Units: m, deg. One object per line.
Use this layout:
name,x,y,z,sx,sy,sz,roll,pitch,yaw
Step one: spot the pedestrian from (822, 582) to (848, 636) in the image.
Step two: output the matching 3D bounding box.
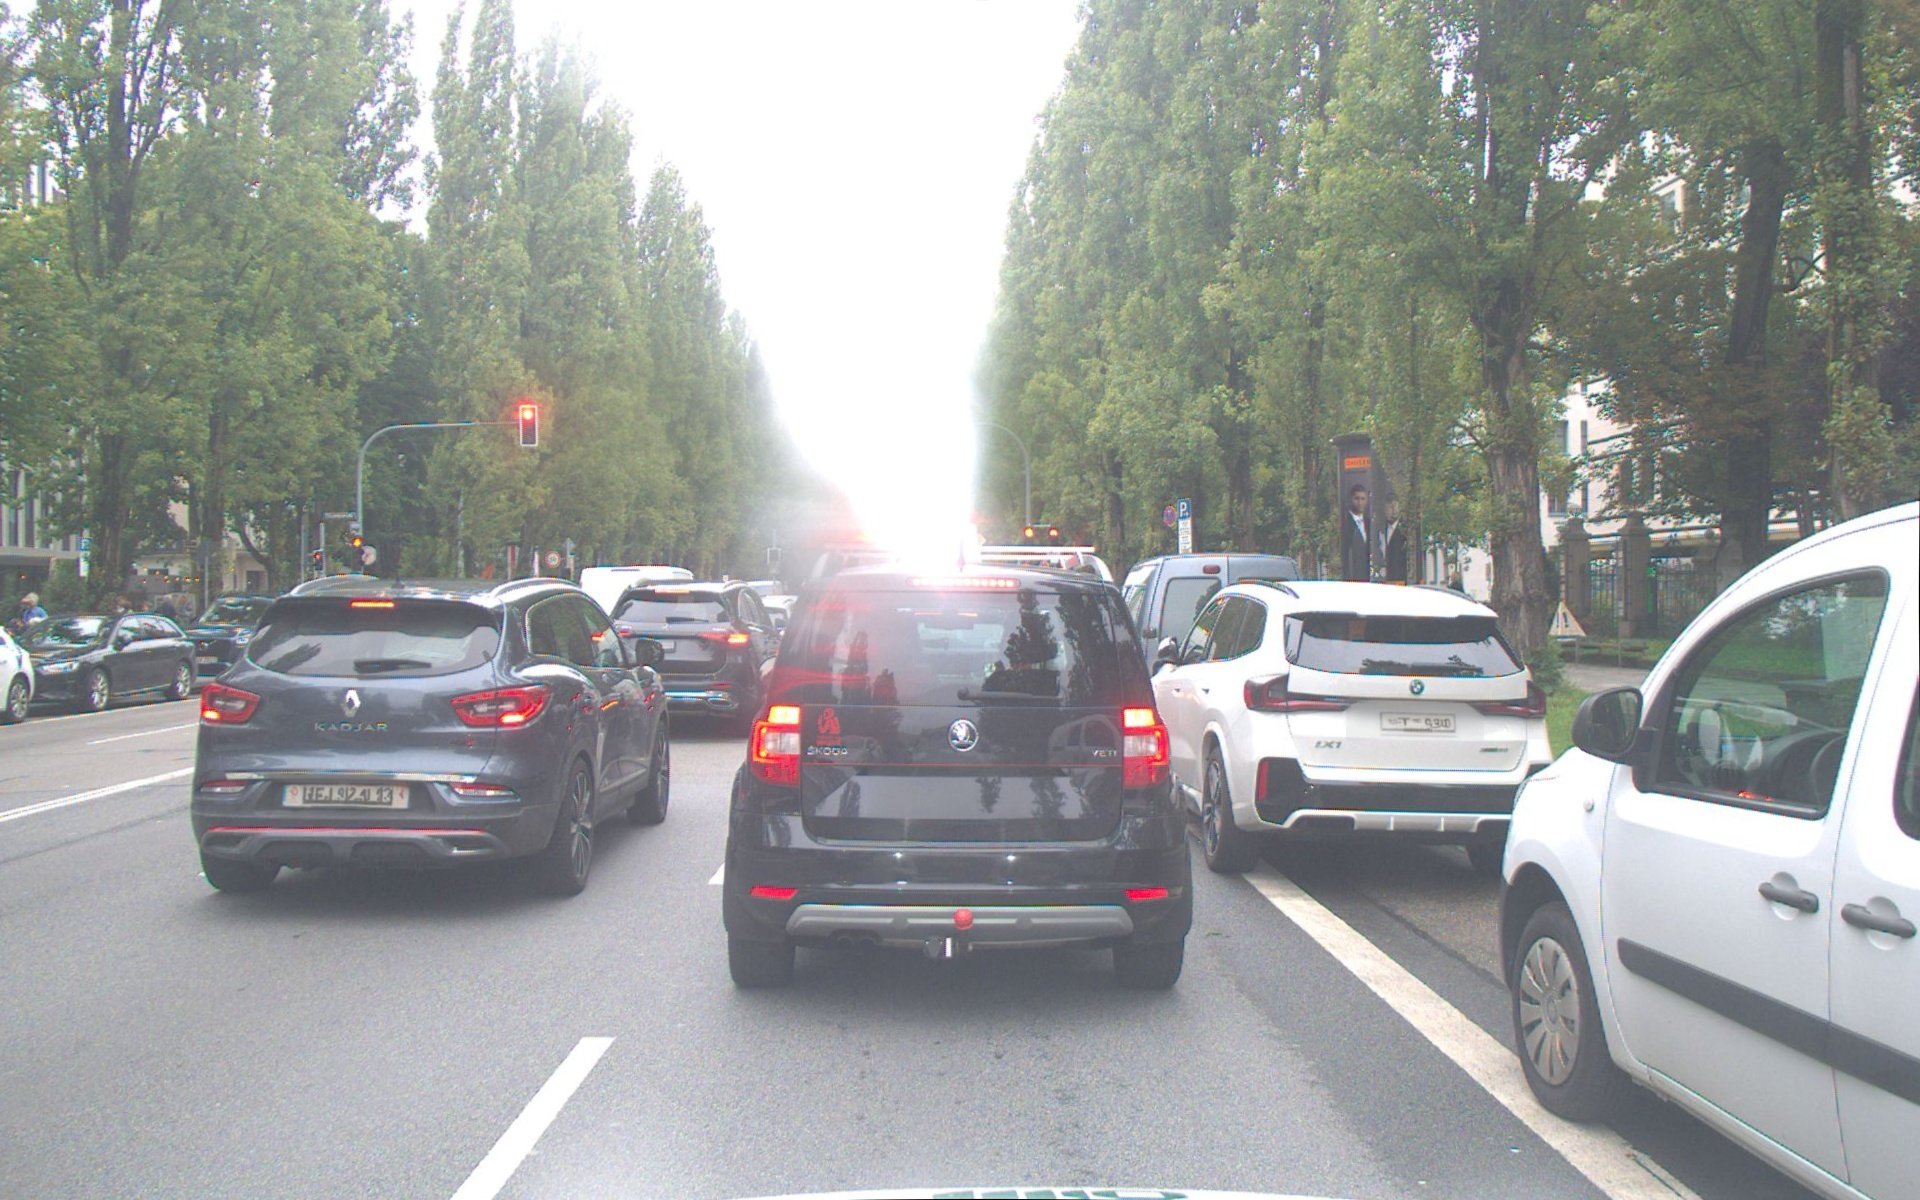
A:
pedestrian,-4.834,0.332,64.047,0.867,2.049,1.013,-1,0,1

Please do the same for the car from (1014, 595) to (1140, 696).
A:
car,1.848,0.689,27.043,1.700,1.501,3.561,-1,0,-2

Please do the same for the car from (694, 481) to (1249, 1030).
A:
car,-0.008,0.518,7.539,1.818,1.801,3.999,1,0,-2

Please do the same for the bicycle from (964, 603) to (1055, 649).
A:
bicycle,1.410,0.724,46.987,2.486,1.259,0.812,-1,0,-6

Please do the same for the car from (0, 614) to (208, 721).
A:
car,-13.389,0.997,25.809,1.591,1.413,4.163,-3,0,-4

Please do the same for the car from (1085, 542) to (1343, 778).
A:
car,2.255,0.473,15.676,1.700,1.928,4.023,-1,0,-2

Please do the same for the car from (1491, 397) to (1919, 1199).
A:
car,2.727,0.560,3.339,1.814,1.914,4.166,-1,0,-3

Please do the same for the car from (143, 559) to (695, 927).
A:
car,-2.724,0.629,9.406,1.798,1.613,4.184,1,0,-1

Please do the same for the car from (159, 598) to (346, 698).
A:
car,-13.540,0.853,31.953,1.813,1.683,4.692,-3,0,-4

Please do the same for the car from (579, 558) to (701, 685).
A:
car,-5.839,0.365,30.564,1.746,2.148,4.021,-1,0,-5

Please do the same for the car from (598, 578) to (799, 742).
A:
car,-2.837,0.590,18.728,1.745,1.648,4.023,0,0,-2

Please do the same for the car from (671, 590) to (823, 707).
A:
car,-3.155,0.664,25.233,1.954,1.588,3.998,-1,1,-3

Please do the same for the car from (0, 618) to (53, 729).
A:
car,-13.127,0.993,20.556,1.591,1.413,4.163,-3,0,-4

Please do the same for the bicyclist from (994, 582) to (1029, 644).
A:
bicyclist,1.449,0.362,46.983,0.888,1.752,0.824,-1,0,-5

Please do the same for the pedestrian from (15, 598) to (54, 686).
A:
pedestrian,-16.480,0.746,29.470,0.455,1.555,0.395,-1,0,-1

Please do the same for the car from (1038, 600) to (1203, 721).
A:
car,2.023,0.731,21.745,1.700,1.411,3.561,-1,0,-2

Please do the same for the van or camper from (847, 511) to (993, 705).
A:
van or camper,-0.652,0.087,24.316,1.936,2.593,4.022,-1,0,-3

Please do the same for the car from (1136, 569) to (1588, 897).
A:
car,2.247,0.647,10.401,1.706,1.620,4.210,-1,0,-2
